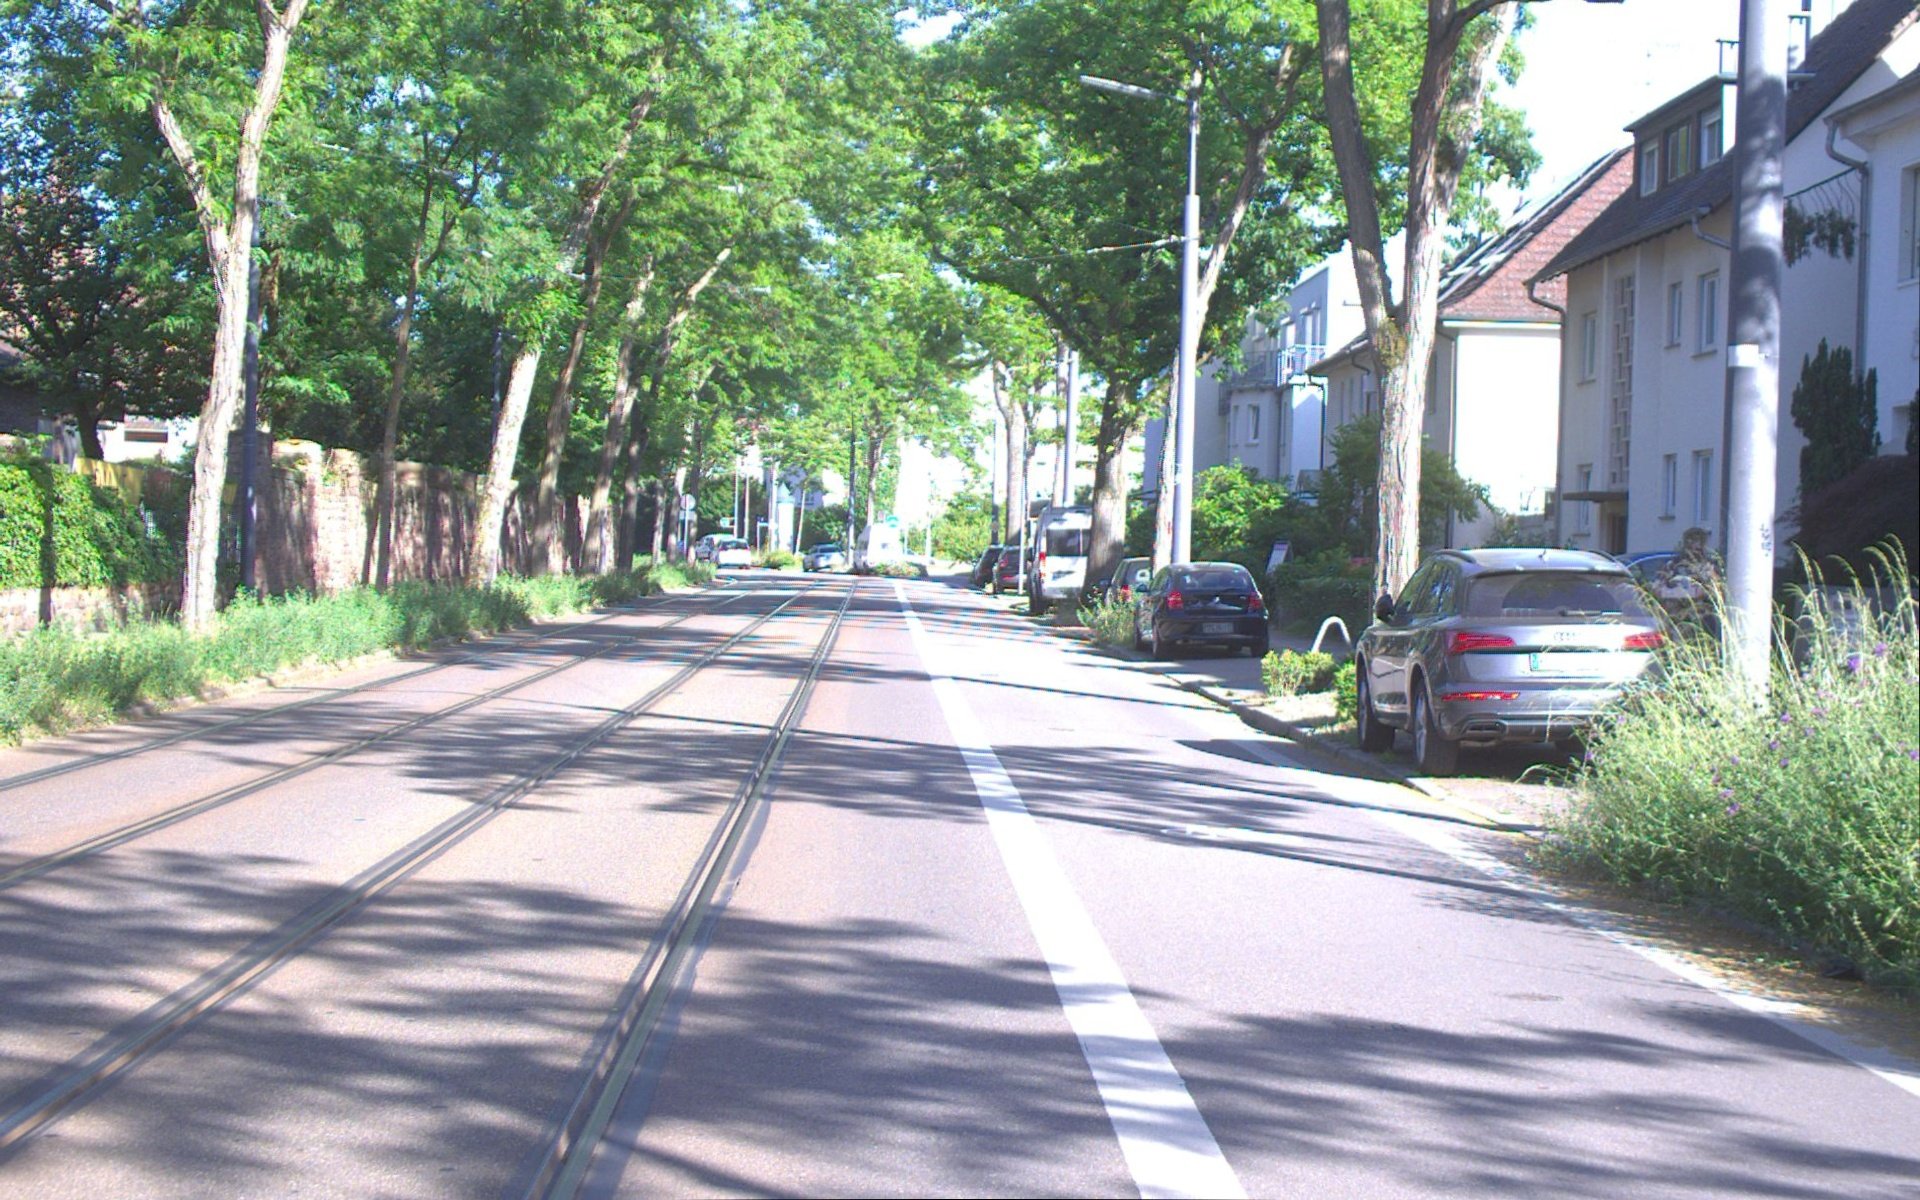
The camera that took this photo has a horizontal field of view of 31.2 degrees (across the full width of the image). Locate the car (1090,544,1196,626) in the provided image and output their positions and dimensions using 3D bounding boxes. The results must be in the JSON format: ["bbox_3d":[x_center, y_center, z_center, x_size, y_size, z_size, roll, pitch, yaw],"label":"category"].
[{"bbox_3d":[3.305,-0.292,62.564,1.627,1.393,3.646,-1,1,-2],"label":"car"}]

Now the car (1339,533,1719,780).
[{"bbox_3d":[4.239,0.357,26.336,1.993,1.698,4.478,-1,1,-2],"label":"car"}]

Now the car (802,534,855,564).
[{"bbox_3d":[-7.190,-2.780,187.217,2.002,1.555,4.394,1,1,-14],"label":"car"}]

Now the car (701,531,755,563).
[{"bbox_3d":[-12.437,-2.843,184.026,1.865,1.669,4.174,1,1,-19],"label":"car"}]

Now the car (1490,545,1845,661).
[{"bbox_3d":[9.482,0.020,46.340,4.421,1.484,1.858,-1,1,2],"label":"car"}]

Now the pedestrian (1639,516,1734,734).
[{"bbox_3d":[6.322,0.210,29.940,0.625,1.864,0.732,-1,1,-2],"label":"pedestrian"}]

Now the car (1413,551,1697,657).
[{"bbox_3d":[8.664,0.051,50.227,3.737,1.484,1.740,0,1,-6],"label":"car"}]

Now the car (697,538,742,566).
[{"bbox_3d":[-16.587,-3.305,236.959,2.002,1.903,4.393,0,1,-19],"label":"car"}]

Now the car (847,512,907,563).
[{"bbox_3d":[-4.107,-3.077,169.509,1.993,2.449,4.510,1,1,-14],"label":"car"}]

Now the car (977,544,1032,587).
[{"bbox_3d":[1.731,-1.349,133.596,2.003,1.669,4.392,0,1,3],"label":"car"}]

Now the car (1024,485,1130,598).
[{"bbox_3d":[2.814,-1.423,83.989,2.245,2.645,5.586,0,1,-1],"label":"car"}]

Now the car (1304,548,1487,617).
[{"bbox_3d":[9.159,-0.367,72.393,3.396,1.431,1.735,0,1,-14],"label":"car"}]

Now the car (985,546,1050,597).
[{"bbox_3d":[1.929,-0.984,116.090,2.002,1.669,4.393,0,1,-2],"label":"car"}]

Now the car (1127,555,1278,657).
[{"bbox_3d":[3.685,0.060,52.915,1.783,1.443,4.302,-1,1,-3],"label":"car"}]
